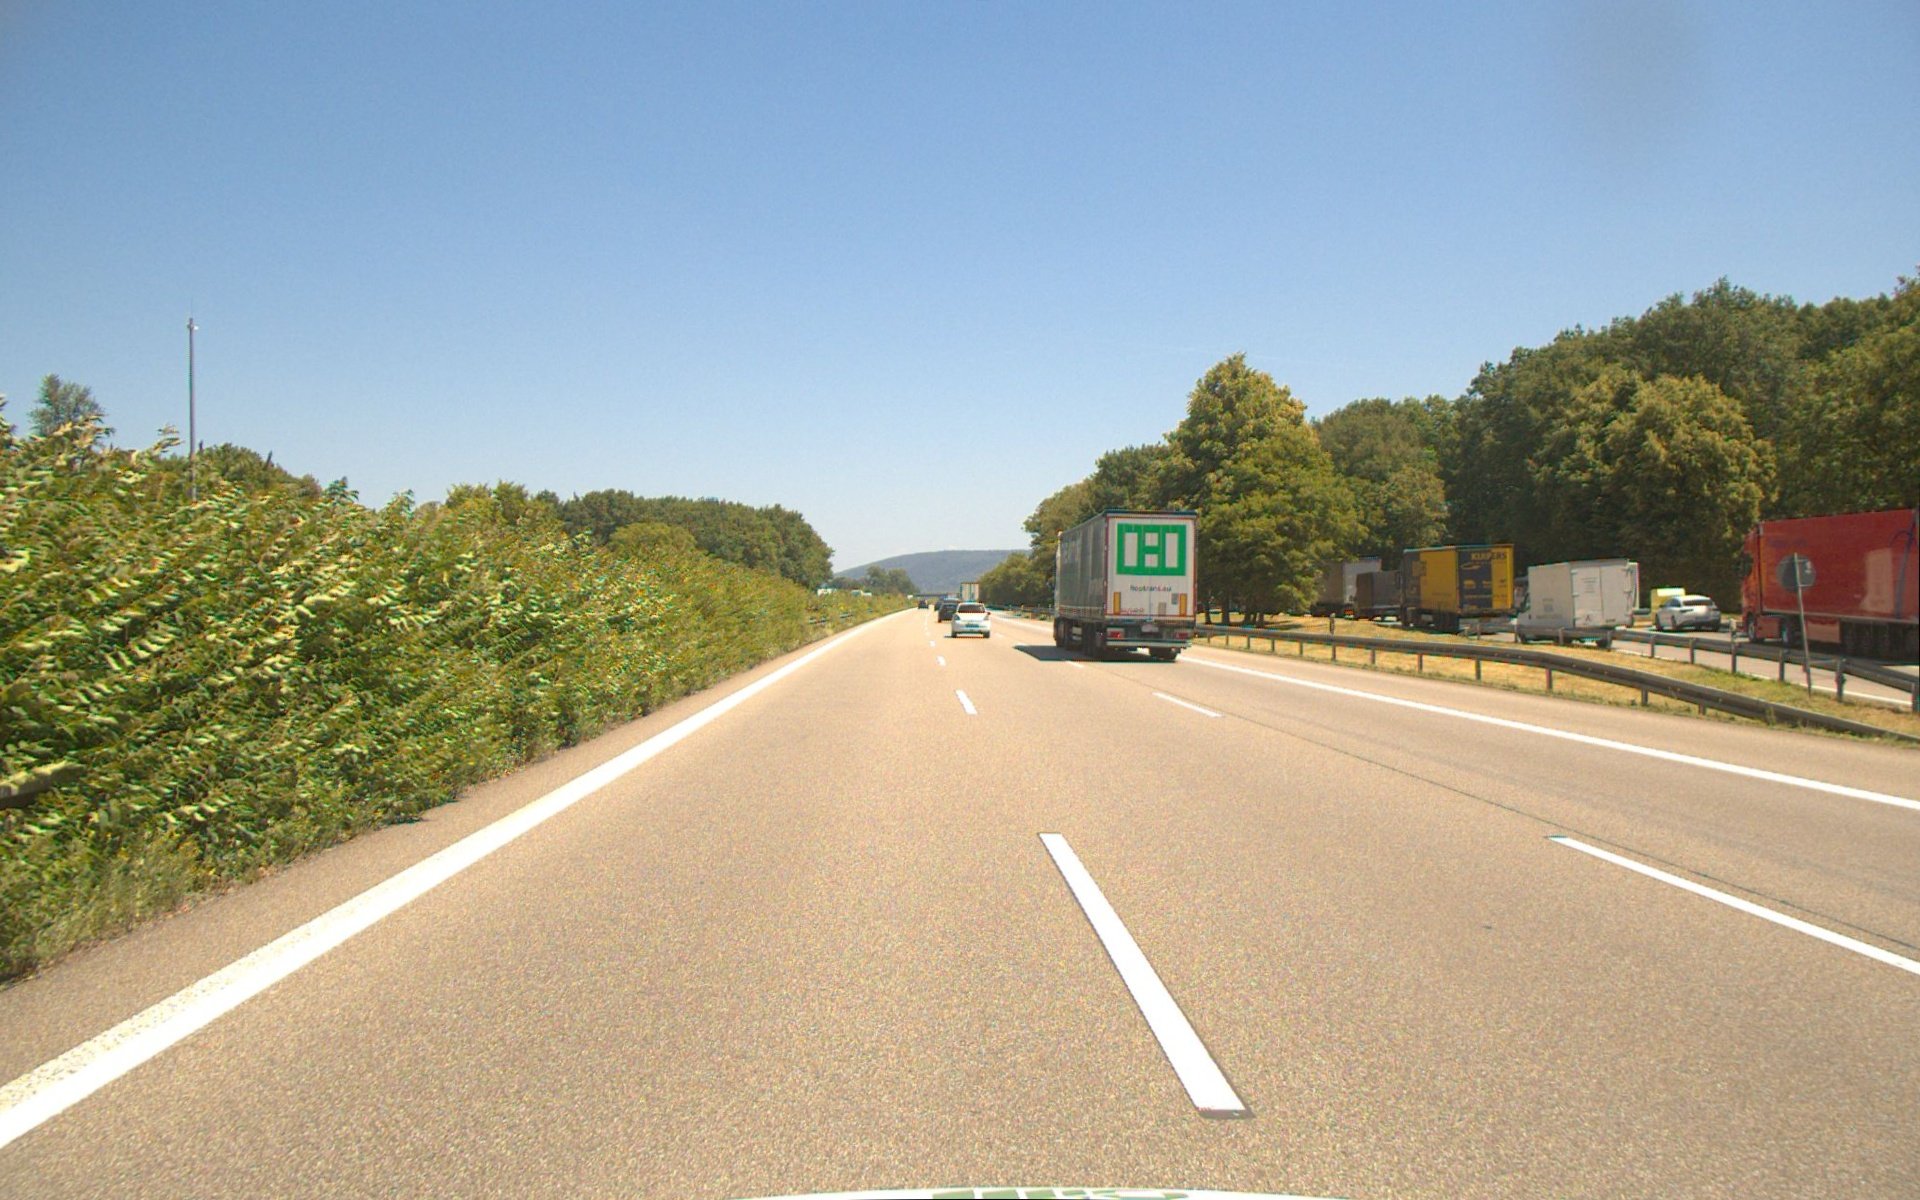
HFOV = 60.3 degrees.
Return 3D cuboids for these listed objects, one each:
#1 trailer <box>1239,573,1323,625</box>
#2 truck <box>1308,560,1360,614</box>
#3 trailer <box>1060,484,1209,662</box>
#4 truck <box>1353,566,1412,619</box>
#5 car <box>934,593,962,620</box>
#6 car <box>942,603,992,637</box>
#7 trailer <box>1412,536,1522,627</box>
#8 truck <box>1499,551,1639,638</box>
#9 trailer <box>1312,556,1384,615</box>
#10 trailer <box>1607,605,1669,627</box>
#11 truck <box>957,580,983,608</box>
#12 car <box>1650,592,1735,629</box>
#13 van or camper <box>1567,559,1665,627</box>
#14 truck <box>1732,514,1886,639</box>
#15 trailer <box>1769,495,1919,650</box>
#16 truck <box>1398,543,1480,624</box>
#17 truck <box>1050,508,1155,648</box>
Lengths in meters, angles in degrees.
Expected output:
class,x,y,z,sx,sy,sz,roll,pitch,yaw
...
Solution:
class,x,y,z,sx,sy,sz,roll,pitch,yaw
trailer,26.223,-0.107,136.131,3.074,4.021,14.183,-1,0,-4
truck,27.576,-0.973,122.246,3.023,3.856,5.320,1,0,5
trailer,5.003,-0.728,49.931,3.117,4.708,12.048,0,0,-1
truck,26.116,-0.453,102.453,2.416,3.140,6.620,1,0,4
car,-0.876,0.496,122.088,1.858,1.926,4.001,-1,0,2
car,0.298,0.861,73.488,1.777,1.429,3.312,0,0,-8
trailer,23.778,-0.806,78.233,3.116,4.004,11.559,0,0,7
truck,22.101,-0.188,60.438,2.417,2.997,7.660,0,0,1
trailer,26.941,-0.976,115.420,3.036,3.856,13.371,1,0,5
trailer,31.305,0.739,76.457,1.737,0.975,4.003,-1,0,8
truck,1.363,-0.795,231.877,3.257,3.822,12.793,1,0,-1
car,30.694,0.433,69.453,1.951,1.476,5.038,-1,0,8
van or camper,33.399,-0.351,84.447,2.935,3.291,7.005,-1,0,7
truck,28.542,-0.747,55.885,2.915,3.949,6.423,-1,0,11
trailer,27.006,-0.730,48.286,2.915,3.946,12.899,-1,0,12
truck,24.674,-0.808,85.518,3.116,4.004,6.622,0,0,7
truck,4.923,-0.728,58.195,3.117,4.688,5.946,0,0,-1
